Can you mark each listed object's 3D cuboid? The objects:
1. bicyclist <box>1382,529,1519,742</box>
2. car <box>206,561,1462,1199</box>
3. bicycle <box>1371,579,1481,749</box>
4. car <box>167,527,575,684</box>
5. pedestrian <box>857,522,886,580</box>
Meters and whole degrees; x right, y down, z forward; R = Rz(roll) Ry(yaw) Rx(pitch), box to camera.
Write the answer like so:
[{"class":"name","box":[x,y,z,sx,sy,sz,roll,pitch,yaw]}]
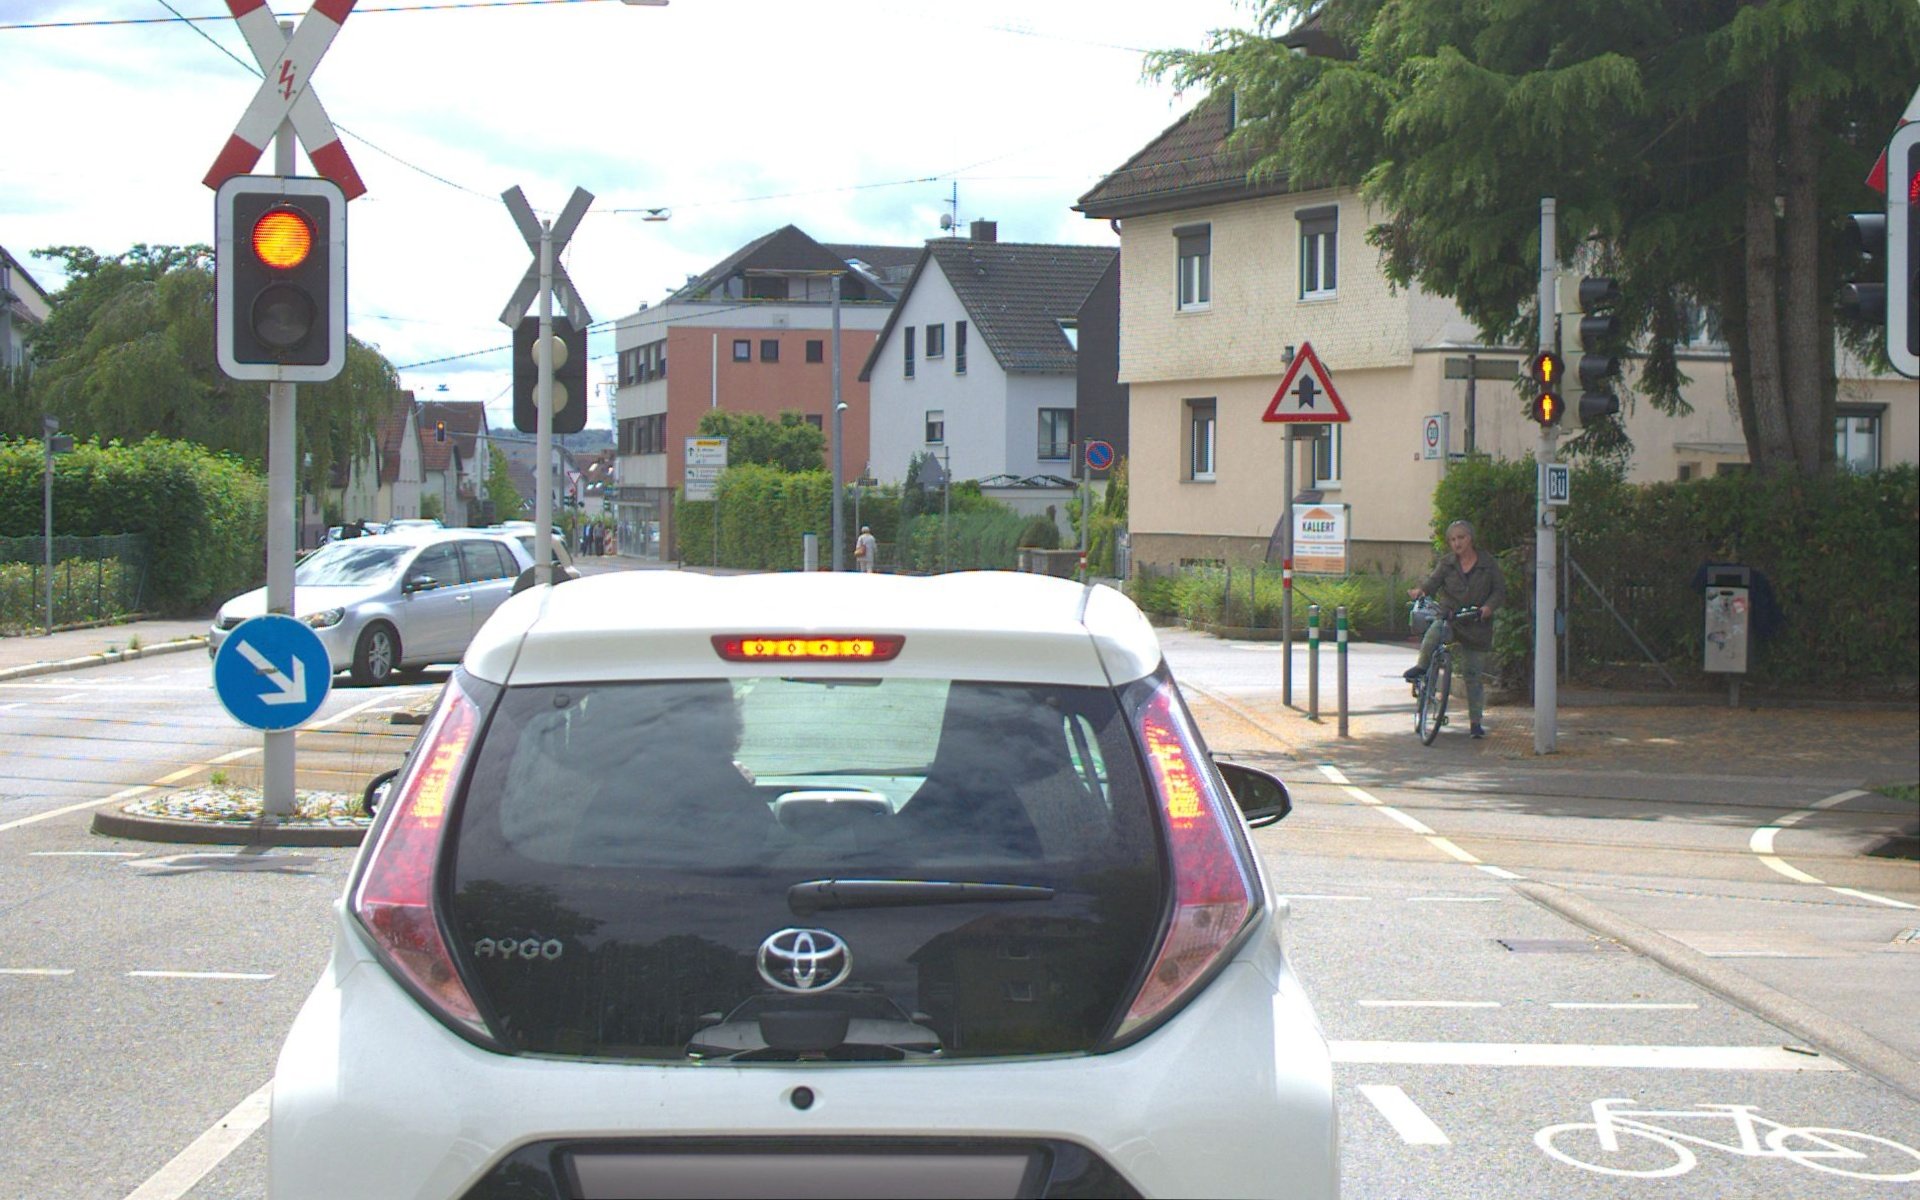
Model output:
[{"class":"bicyclist","box":[3.745,0.259,26.300,0.840,1.548,0.756,-2,3,-6]},{"class":"car","box":[-0.295,0.670,6.595,1.721,1.437,3.709,1,1,-4]},{"class":"bicycle","box":[3.540,0.468,26.180,0.457,1.168,1.480,-2,4,-6]},{"class":"car","box":[-5.844,0.041,34.572,1.908,1.436,4.092,2,1,28]},{"class":"pedestrian","box":[-2.436,-1.338,94.429,0.726,1.571,0.803,2,1,0]}]
